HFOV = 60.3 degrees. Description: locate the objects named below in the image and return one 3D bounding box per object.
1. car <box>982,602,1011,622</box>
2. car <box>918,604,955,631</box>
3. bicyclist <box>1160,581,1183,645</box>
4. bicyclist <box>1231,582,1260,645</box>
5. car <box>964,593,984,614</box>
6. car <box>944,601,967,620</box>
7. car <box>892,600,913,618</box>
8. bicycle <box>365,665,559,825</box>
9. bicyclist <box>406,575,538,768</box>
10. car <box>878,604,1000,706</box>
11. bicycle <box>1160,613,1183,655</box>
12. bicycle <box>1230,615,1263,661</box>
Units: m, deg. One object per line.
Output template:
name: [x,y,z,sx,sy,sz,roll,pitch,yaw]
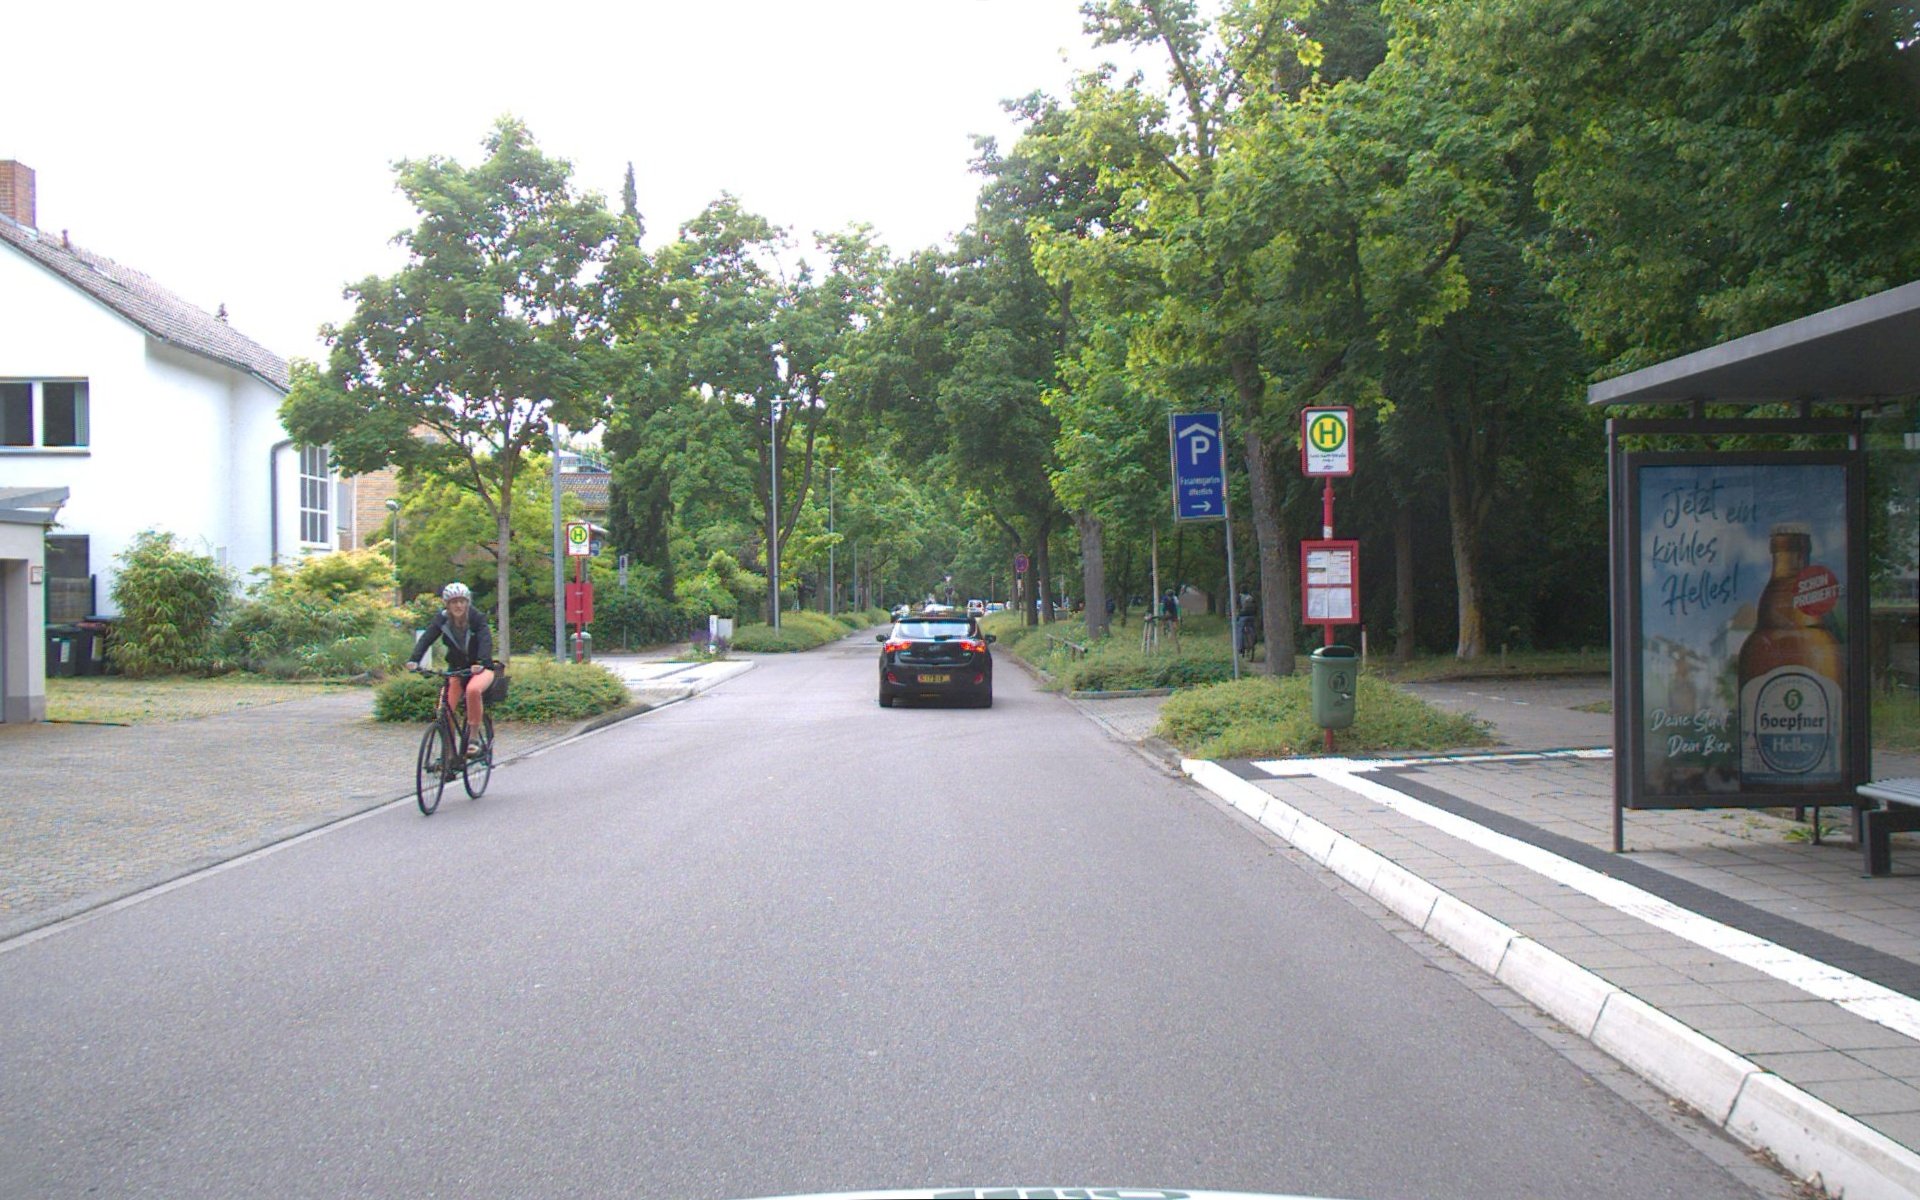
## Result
car: [2.756,0.898,125.583,1.861,1.512,3.997,-1,0,-3]
car: [-1.363,0.989,94.086,1.827,1.488,4.113,-1,0,-4]
bicyclist: [5.341,0.326,41.781,0.523,1.576,0.758,-2,0,6]
bicyclist: [6.658,0.311,38.628,0.584,1.434,0.758,-2,0,6]
car: [1.404,0.329,166.312,1.952,2.049,4.001,-2,0,1]
car: [-0.408,0.898,144.750,1.953,1.512,3.999,-2,0,-1]
car: [-4.760,0.753,136.743,1.531,1.462,4.212,-2,0,-3]
bicycle: [-3.951,1.109,13.376,0.778,1.043,2.564,-2,0,0]
bicyclist: [-3.955,0.557,13.461,0.768,1.495,0.937,-1,0,-1]
car: [-0.372,0.824,26.604,1.809,1.488,3.826,0,0,-2]
bicycle: [5.328,0.835,41.674,0.481,0.992,1.945,-2,0,6]
bicycle: [6.693,0.876,38.710,0.594,0.992,1.945,-2,0,6]
